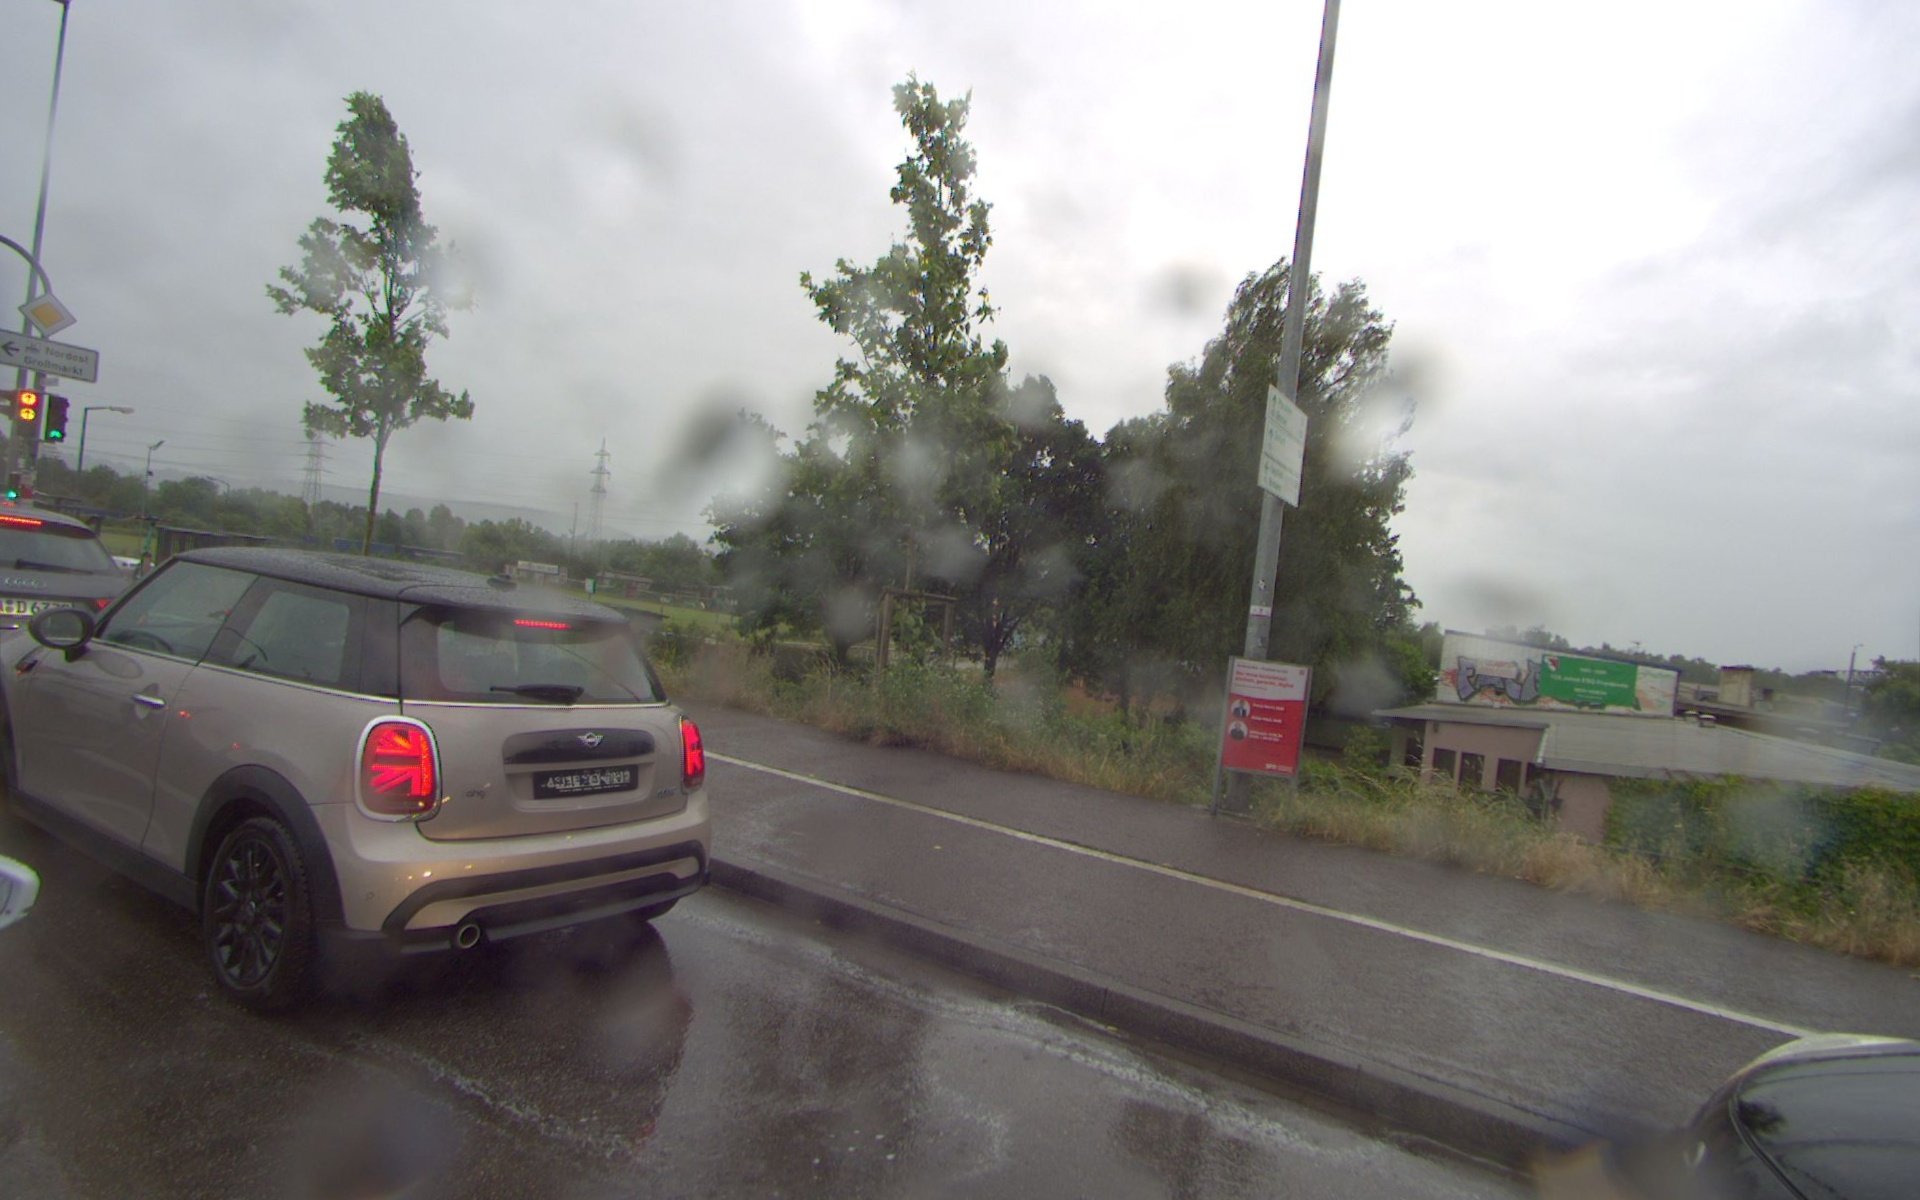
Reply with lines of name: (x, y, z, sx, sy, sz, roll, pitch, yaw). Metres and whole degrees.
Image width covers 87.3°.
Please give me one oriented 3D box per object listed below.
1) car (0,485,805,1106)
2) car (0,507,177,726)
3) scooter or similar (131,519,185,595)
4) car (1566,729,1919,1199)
car: (-2.679, 0.482, 4.314, 3.563, 1.525, 1.717, 7, -2, 31)
car: (-7.483, -0.054, 7.236, 3.563, 1.360, 1.632, 6, -2, 31)
scooter or similar: (-13.570, -0.733, 17.006, 1.167, 1.171, 0.246, 6, -1, 33)
car: (2.800, 1.173, 1.060, 3.563, 1.445, 1.632, 7, -1, 31)
